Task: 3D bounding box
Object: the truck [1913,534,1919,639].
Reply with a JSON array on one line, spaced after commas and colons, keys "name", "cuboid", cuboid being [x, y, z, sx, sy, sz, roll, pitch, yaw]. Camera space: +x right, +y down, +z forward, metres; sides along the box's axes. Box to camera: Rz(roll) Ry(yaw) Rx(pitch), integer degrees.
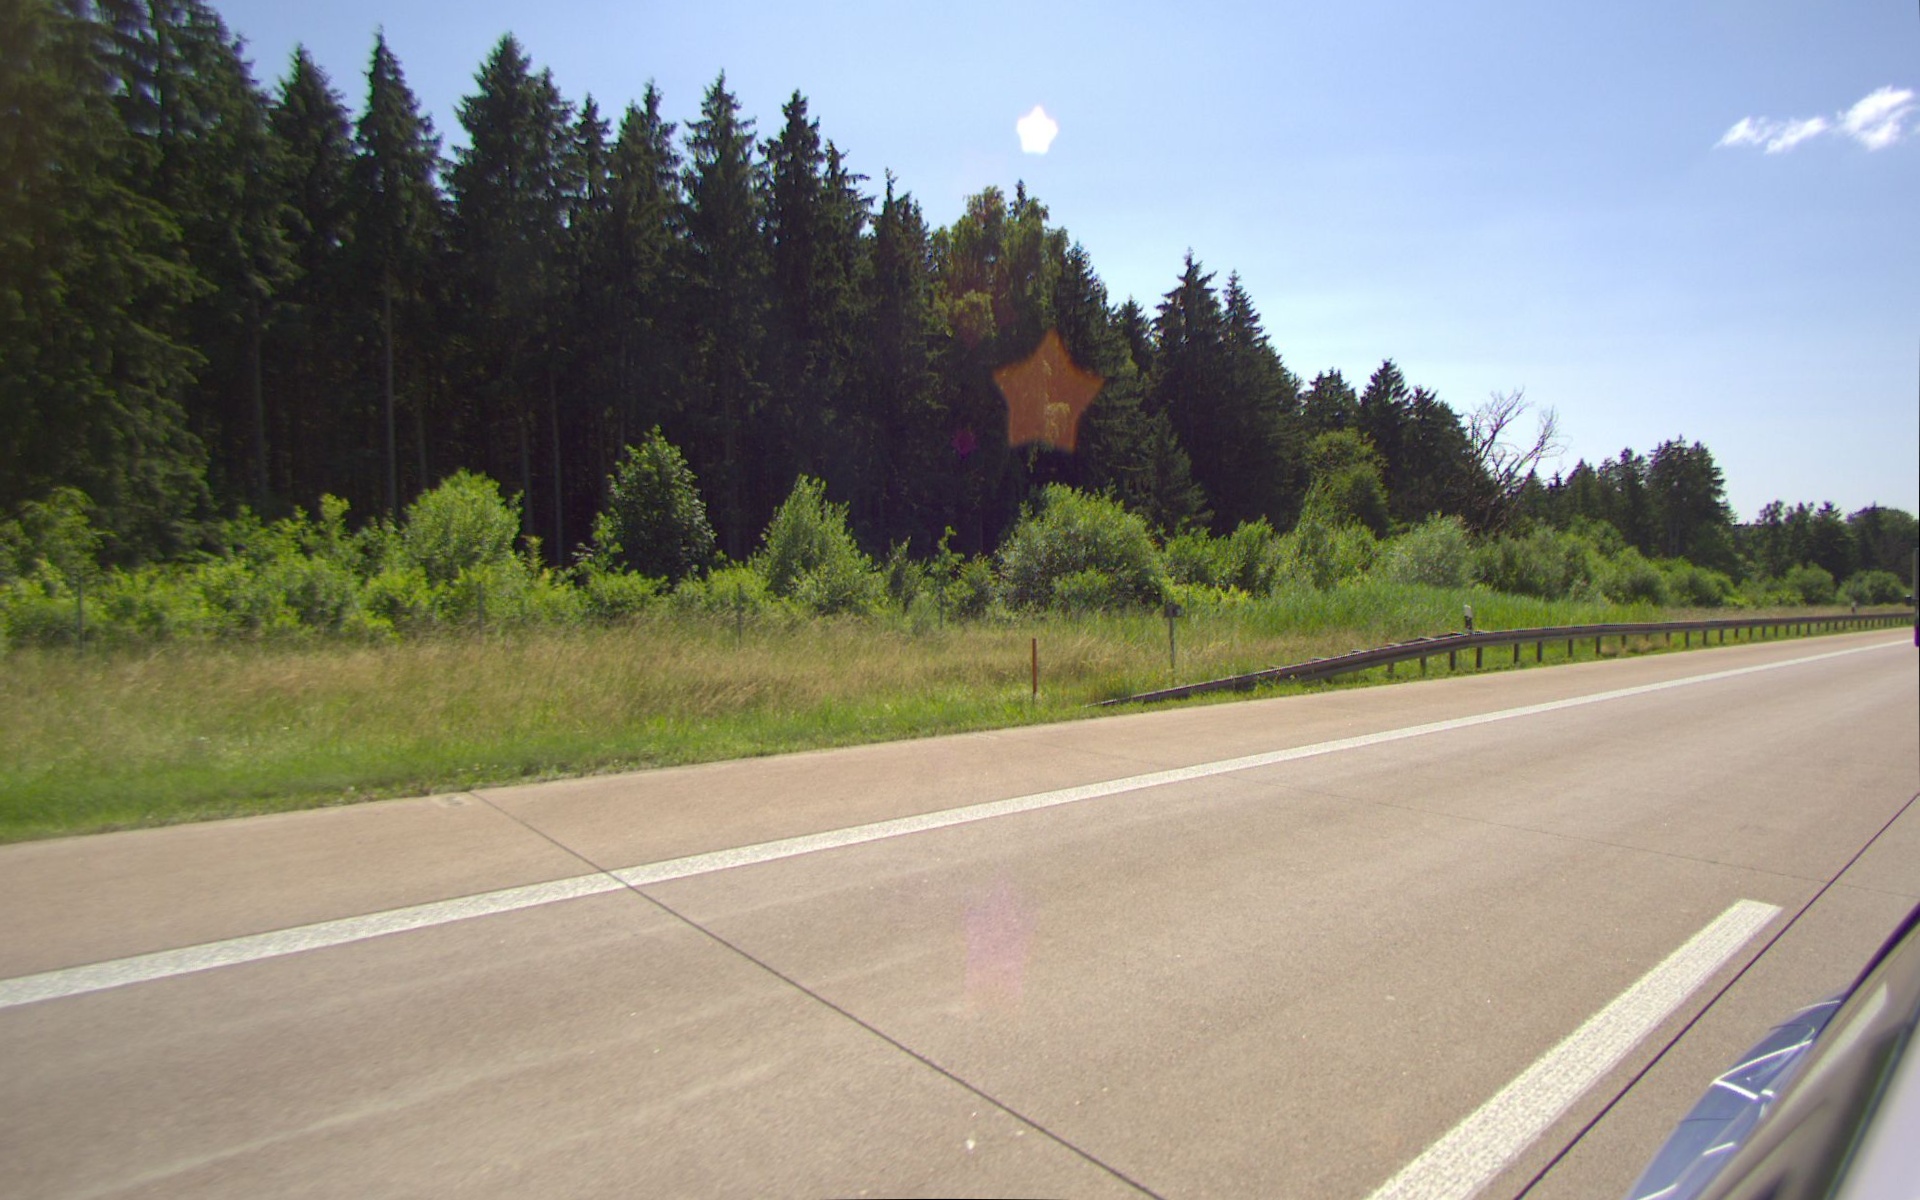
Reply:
[{"name": "truck", "cuboid": [33.617, -0.409, 33.234, 7.646, 3.259, 2.507, 0, 1, -40]}]
